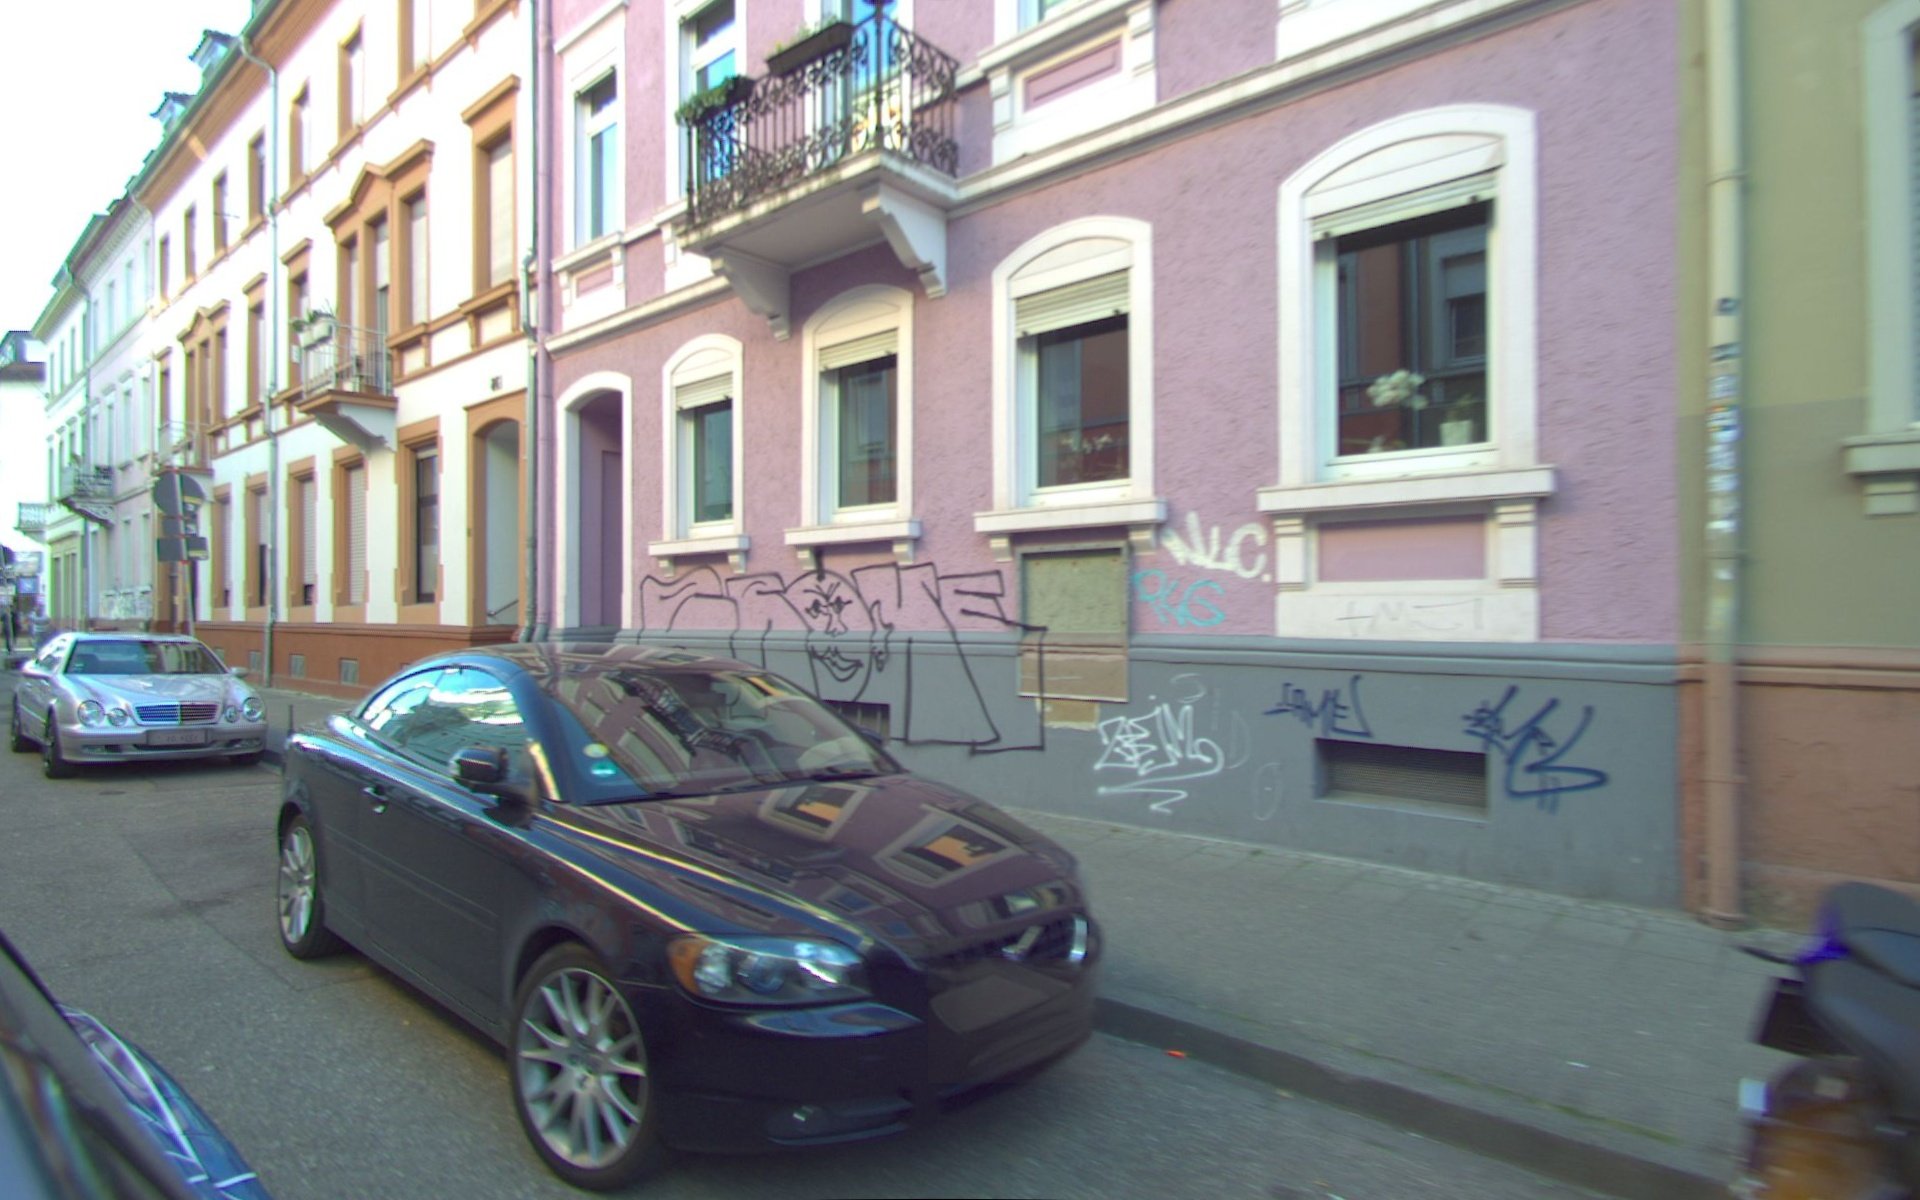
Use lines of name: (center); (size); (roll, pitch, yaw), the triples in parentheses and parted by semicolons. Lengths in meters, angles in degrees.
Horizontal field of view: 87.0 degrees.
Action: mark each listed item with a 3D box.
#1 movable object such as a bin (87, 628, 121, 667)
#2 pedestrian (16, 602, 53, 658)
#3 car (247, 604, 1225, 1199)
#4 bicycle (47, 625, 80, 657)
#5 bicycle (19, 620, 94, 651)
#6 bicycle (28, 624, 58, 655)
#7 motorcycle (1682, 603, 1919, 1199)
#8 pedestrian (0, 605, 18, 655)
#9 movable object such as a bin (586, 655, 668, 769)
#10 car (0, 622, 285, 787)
movable object such as a bin: (-23.444, 1.290, 27.719); (0.596, 1.043, 0.599); (-1, 0, 40)
pedestrian: (-29.839, 0.970, 32.634); (0.865, 1.714, 0.686); (-4, 1, 42)
car: (-1.335, 0.778, 4.055); (4.356, 1.394, 1.691); (-2, -2, 44)
bicycle: (-29.918, 1.347, 33.762); (1.818, 1.030, 0.615); (-1, 0, 42)
bicycle: (-41.283, 1.595, 46.276); (0.928, 1.369, 2.449); (-1, -1, 42)
bicycle: (-33.354, 1.422, 36.811); (1.818, 1.030, 0.597); (0, 3, 42)
motorcycle: (1.845, 0.704, 1.729); (0.537, 1.369, 2.136); (-1, 0, 23)
pedestrian: (-34.573, 1.065, 36.302); (0.986, 1.806, 0.820); (0, -3, 31)
movable object such as a bin: (-3.030, 1.002, 9.219); (0.487, 0.952, 0.538); (-1, 0, 42)
car: (-9.017, 0.982, 10.968); (4.504, 1.394, 1.692); (0, -3, 42)
